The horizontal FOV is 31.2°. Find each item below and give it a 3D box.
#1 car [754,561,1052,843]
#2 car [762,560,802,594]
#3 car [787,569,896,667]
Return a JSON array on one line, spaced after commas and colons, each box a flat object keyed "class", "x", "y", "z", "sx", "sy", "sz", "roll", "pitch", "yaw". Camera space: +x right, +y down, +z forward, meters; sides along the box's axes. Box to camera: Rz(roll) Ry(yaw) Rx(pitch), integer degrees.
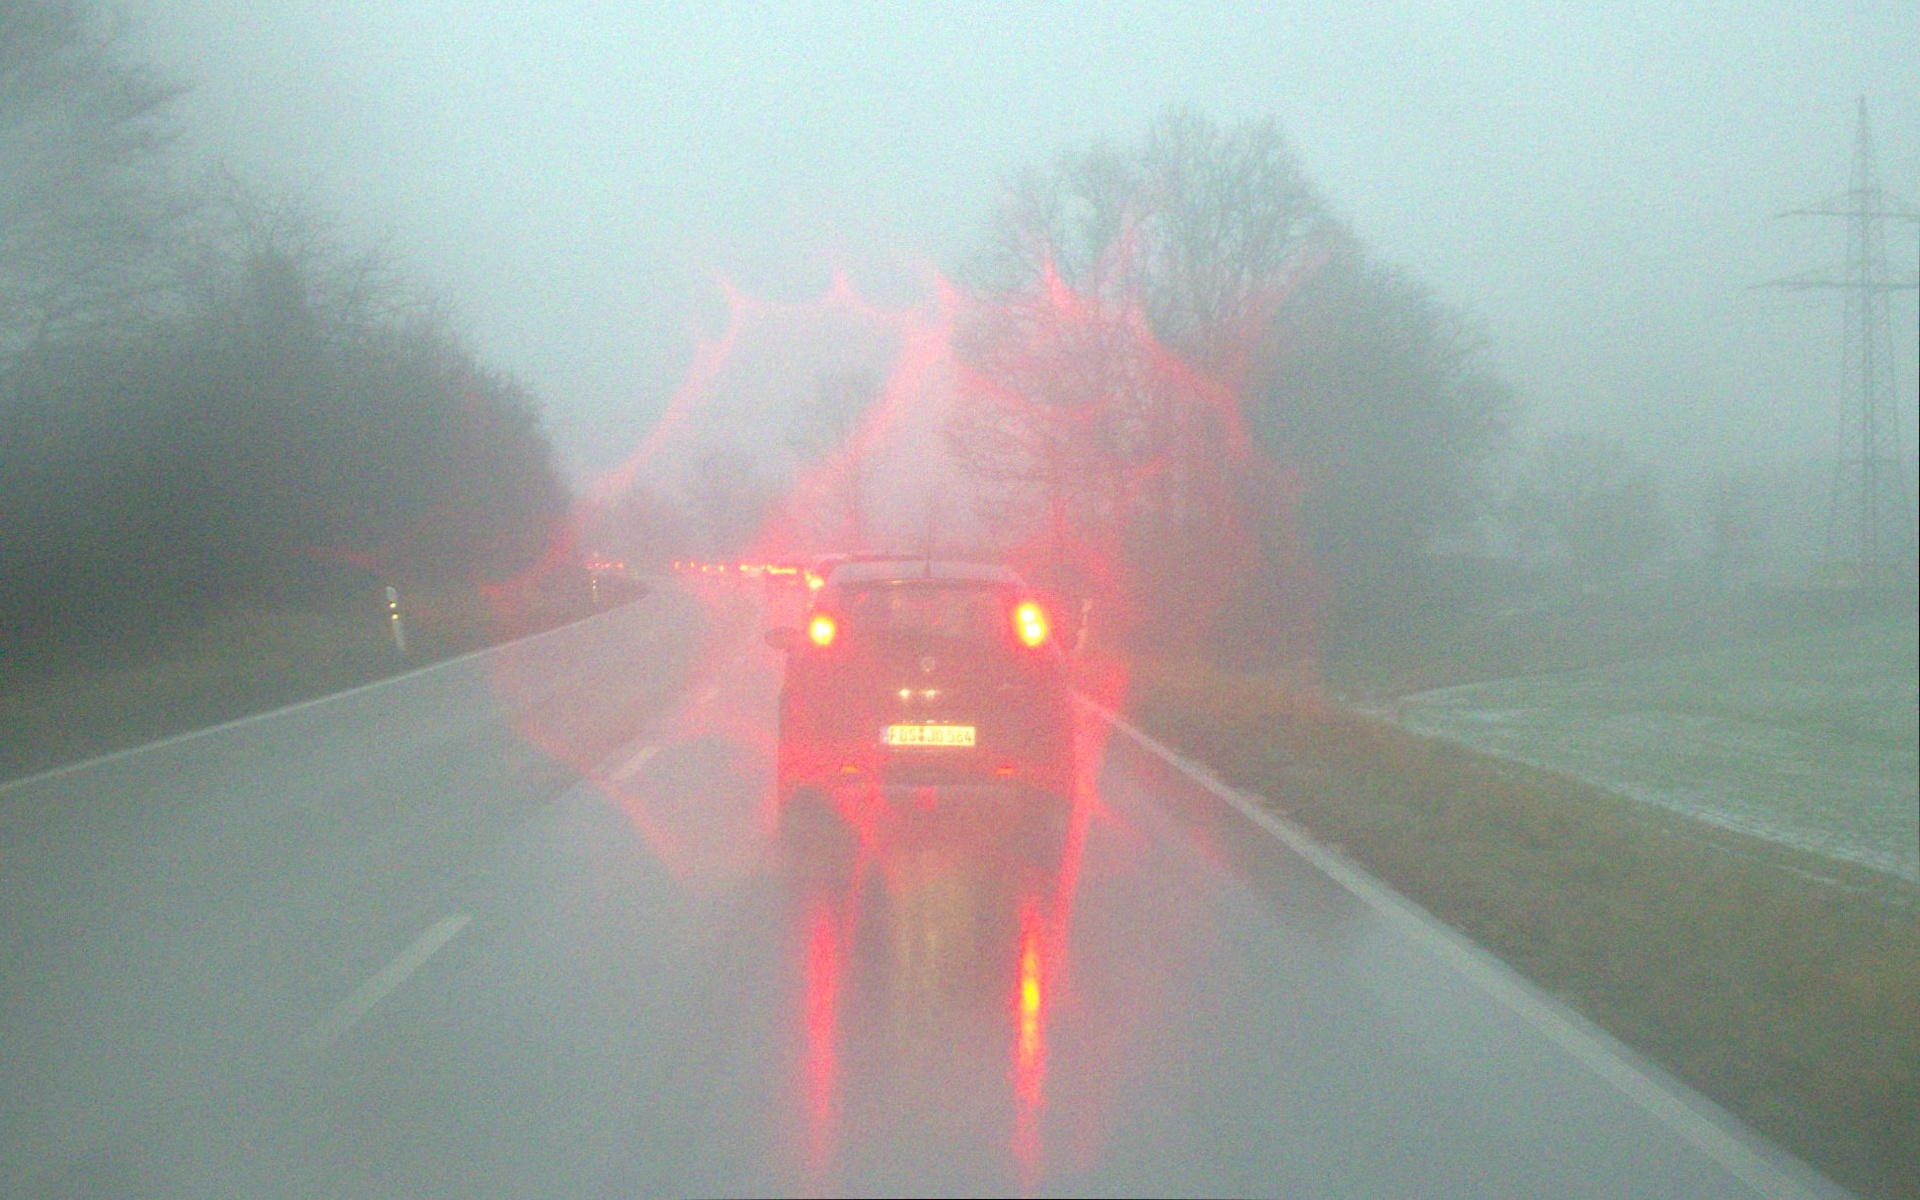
[{"class": "car", "x": -0.287, "y": 0.535, "z": 20.638, "sx": 1.602, "sy": 1.517, "sz": 3.869, "roll": 1, "pitch": 1, "yaw": 1}, {"class": "car", "x": -7.414, "y": -0.958, "z": 143.333, "sx": 1.547, "sy": 1.392, "sz": 3.870, "roll": 1, "pitch": 1, "yaw": -1}, {"class": "car", "x": -1.777, "y": 0.244, "z": 51.557, "sx": 1.547, "sy": 1.392, "sz": 3.870, "roll": 1, "pitch": 1, "yaw": -2}]
